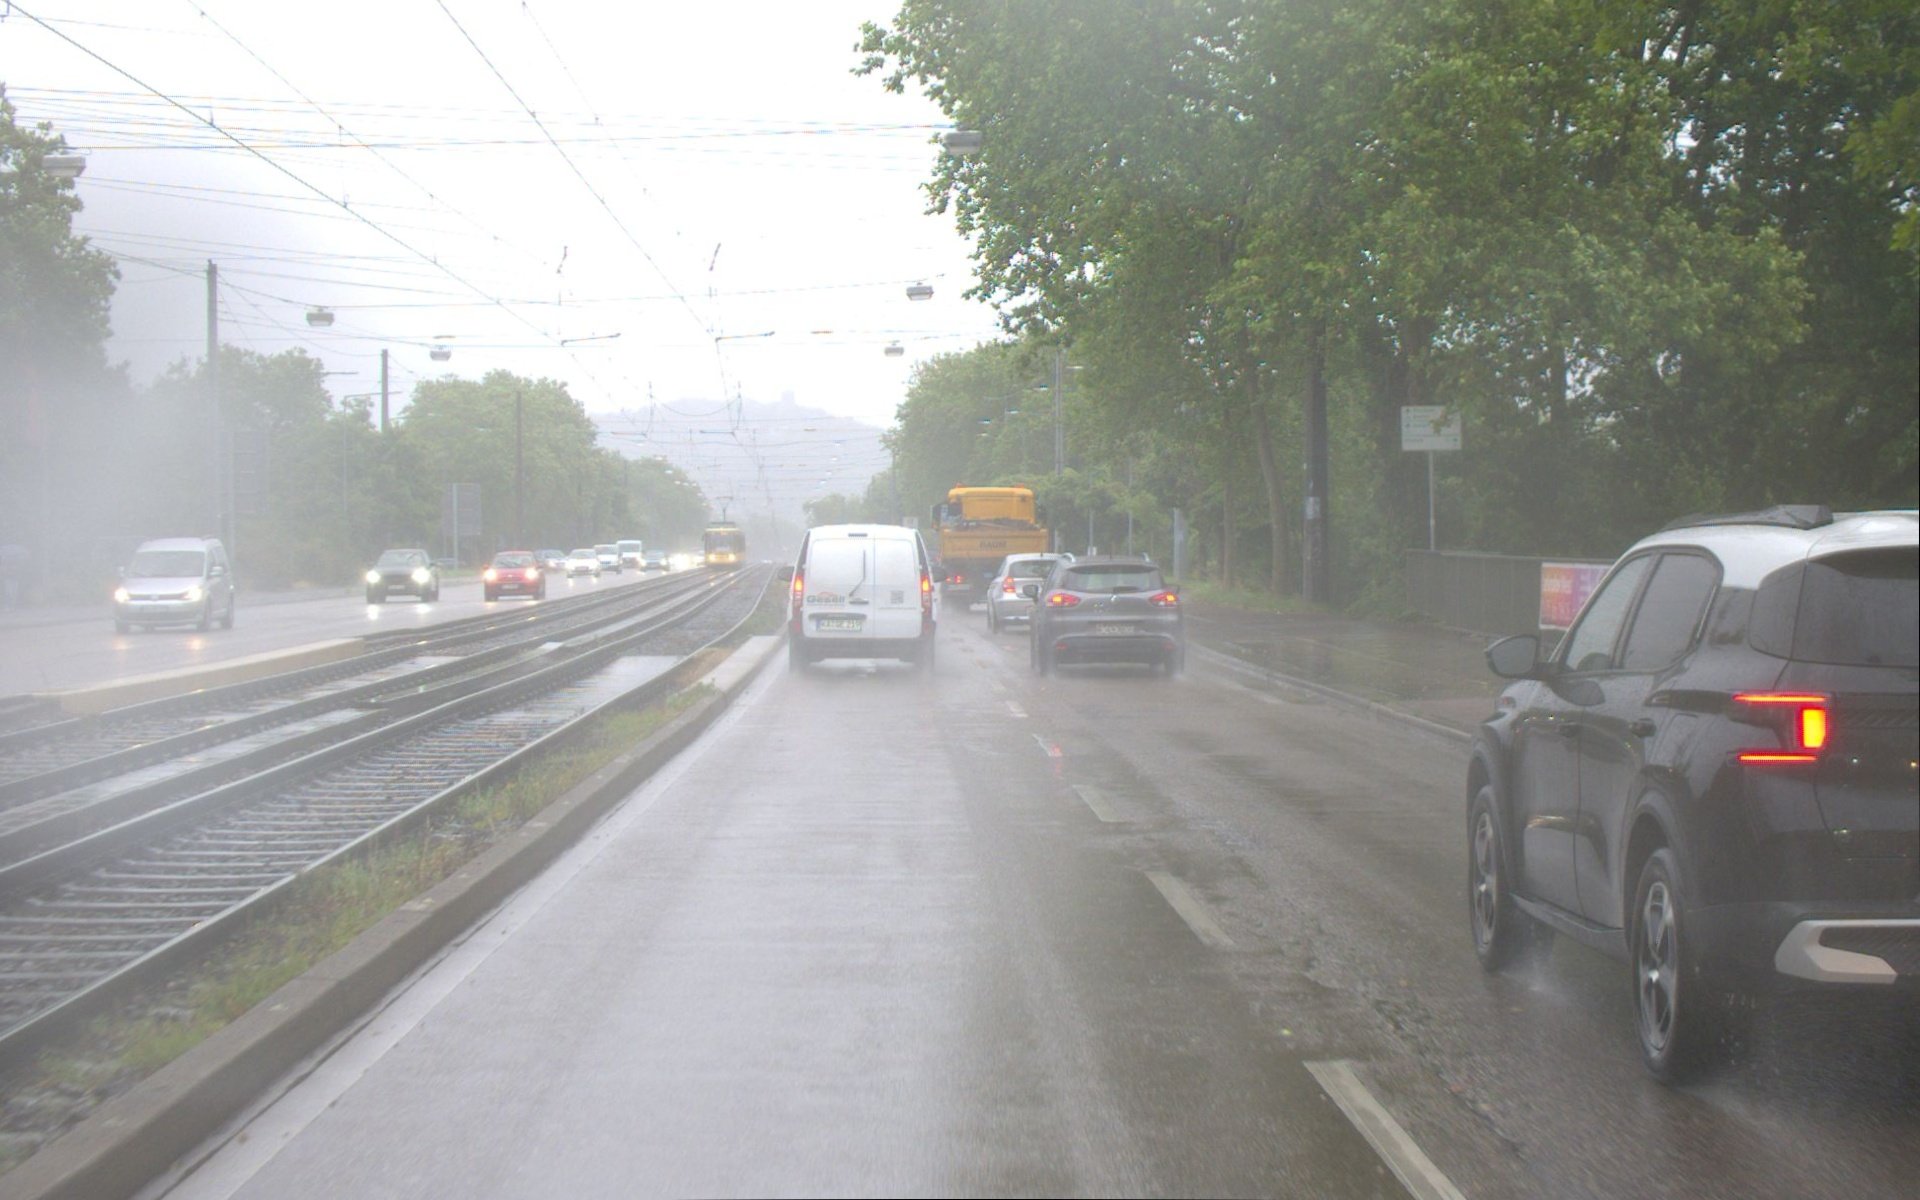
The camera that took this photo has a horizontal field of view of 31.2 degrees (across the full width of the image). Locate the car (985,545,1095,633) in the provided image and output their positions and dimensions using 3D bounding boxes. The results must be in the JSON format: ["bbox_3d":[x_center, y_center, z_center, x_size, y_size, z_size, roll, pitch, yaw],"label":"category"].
[{"bbox_3d":[1.391,-0.214,61.354,1.818,1.409,3.779,1,2,-1],"label":"car"}]

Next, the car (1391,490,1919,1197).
[{"bbox_3d":[2.722,0.539,10.830,1.899,1.711,4.726,1,2,-3],"label":"car"}]

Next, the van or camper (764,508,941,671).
[{"bbox_3d":[-1.364,-0.173,42.126,1.993,1.778,4.001,1,2,-4],"label":"van or camper"}]

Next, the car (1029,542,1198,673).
[{"bbox_3d":[1.810,0.057,41.645,1.818,1.409,3.779,1,2,-1],"label":"car"}]

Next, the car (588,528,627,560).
[{"bbox_3d":[-22.160,-3.537,216.027,1.993,1.897,4.000,1,1,0],"label":"car"}]

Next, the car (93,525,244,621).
[{"bbox_3d":[-15.395,-0.560,67.095,1.993,1.809,4.660,0,1,-2],"label":"car"}]

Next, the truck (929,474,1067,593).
[{"bbox_3d":[0.870,-1.651,83.770,3.112,2.763,6.330,1,2,-1],"label":"truck"}]

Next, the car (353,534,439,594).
[{"bbox_3d":[-17.491,-1.146,106.706,1.993,1.809,4.000,0,1,0],"label":"car"}]

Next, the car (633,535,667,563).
[{"bbox_3d":[-21.583,-3.579,239.397,1.993,1.897,4.000,1,1,0],"label":"car"}]

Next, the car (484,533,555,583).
[{"bbox_3d":[-13.629,-1.319,106.530,1.657,1.481,4.013,0,1,0],"label":"car"}]
